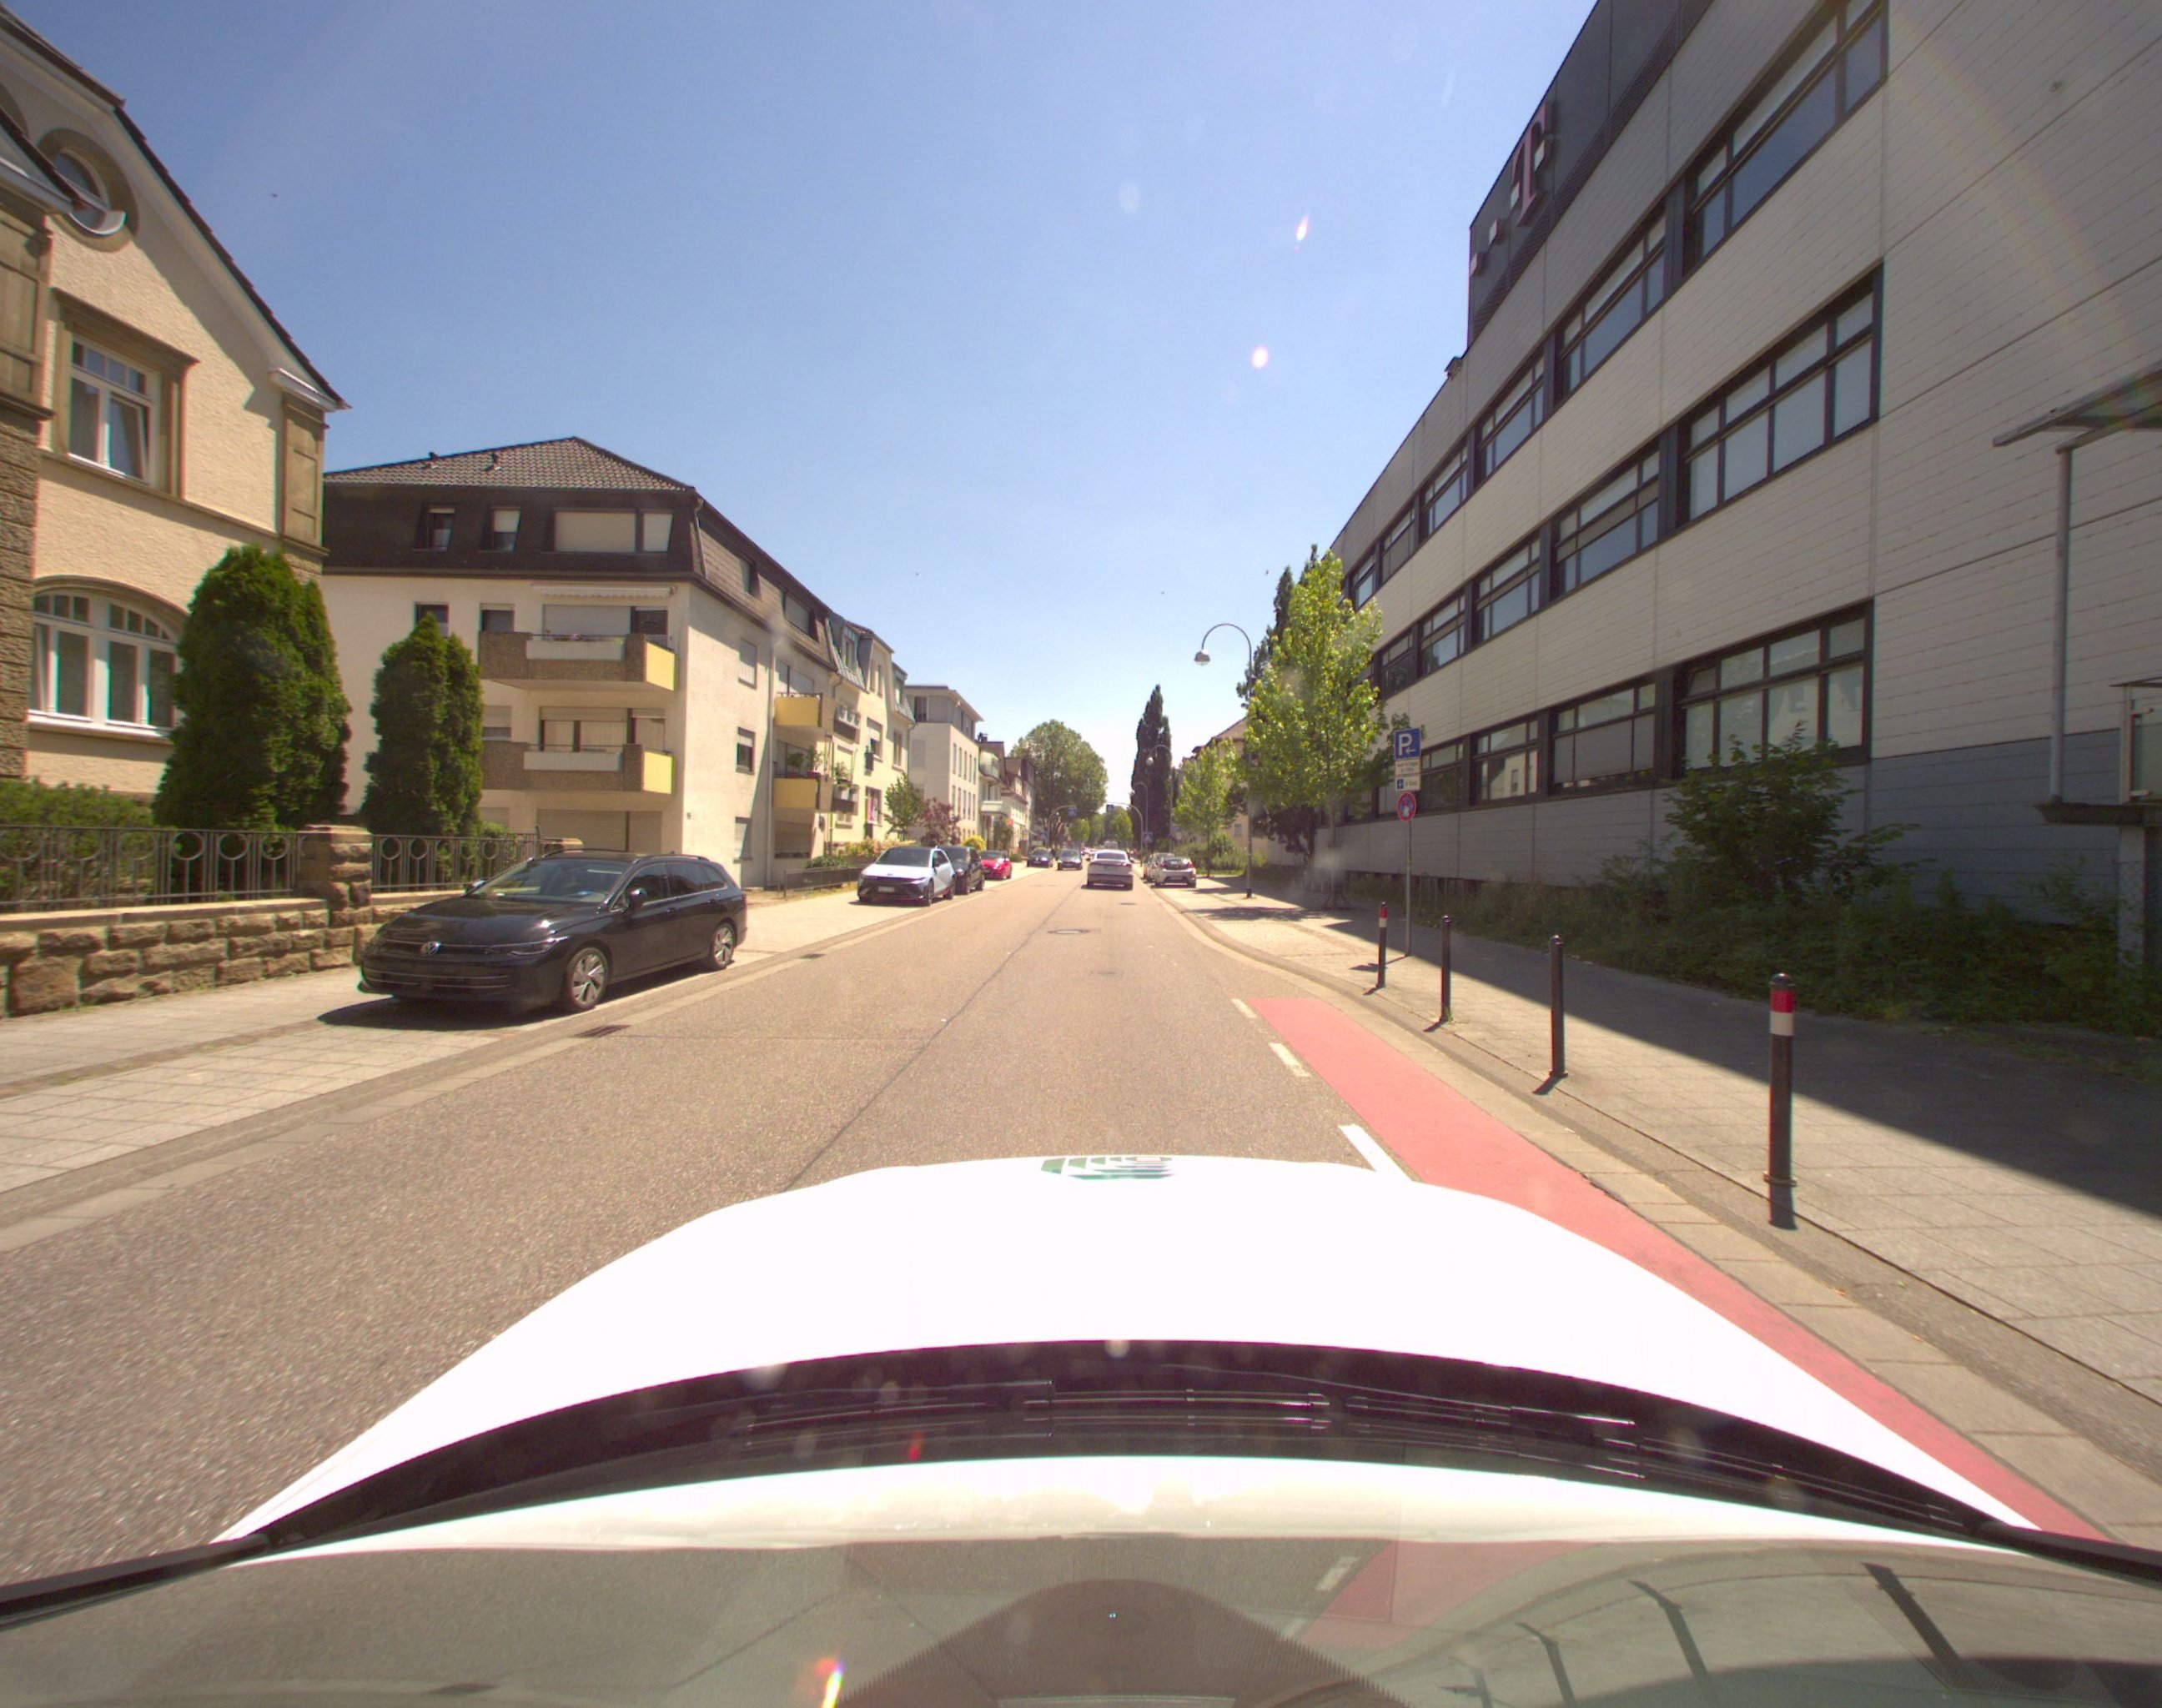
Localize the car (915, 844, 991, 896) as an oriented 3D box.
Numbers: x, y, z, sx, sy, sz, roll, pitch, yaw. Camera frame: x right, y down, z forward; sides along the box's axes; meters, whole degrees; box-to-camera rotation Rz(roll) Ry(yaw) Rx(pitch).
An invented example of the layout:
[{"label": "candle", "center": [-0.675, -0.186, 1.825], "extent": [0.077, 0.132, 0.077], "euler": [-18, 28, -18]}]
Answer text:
[{"label": "car", "center": [-4.531, 0.540, 29.490], "extent": [1.718, 1.619, 4.574], "euler": [4, 0, 3]}]

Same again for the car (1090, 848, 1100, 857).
[{"label": "car", "center": [2.634, -0.247, 153.190], "extent": [1.971, 1.520, 4.001], "euler": [1, 0, 1]}]

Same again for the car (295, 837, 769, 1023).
[{"label": "car", "center": [-5.514, 0.642, 9.173], "extent": [1.918, 1.436, 4.662], "euler": [4, 0, 3]}]

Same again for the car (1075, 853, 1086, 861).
[{"label": "car", "center": [-0.052, 0.663, 160.317], "extent": [1.986, 1.520, 4.001], "euler": [1, 0, 1]}]

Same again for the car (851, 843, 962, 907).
[{"label": "car", "center": [-4.920, 0.553, 23.730], "extent": [1.918, 1.573, 4.662], "euler": [4, 0, 3]}]

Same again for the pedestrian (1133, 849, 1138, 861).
[{"label": "pedestrian", "center": [8.174, 0.113, 122.050], "extent": [0.692, 1.736, 0.667], "euler": [1, -1, -3]}]

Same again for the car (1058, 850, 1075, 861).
[{"label": "car", "center": [-1.776, 0.186, 102.056], "extent": [1.986, 1.349, 4.001], "euler": [1, 0, 1]}]

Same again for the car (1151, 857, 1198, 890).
[{"label": "car", "center": [4.230, 0.844, 37.397], "extent": [1.854, 1.373, 4.003], "euler": [1, 0, 3]}]

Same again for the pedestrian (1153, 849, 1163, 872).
[{"label": "pedestrian", "center": [5.848, 0.513, 62.131], "extent": [0.636, 1.758, 0.616], "euler": [1, 0, -3]}]

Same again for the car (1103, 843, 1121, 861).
[{"label": "car", "center": [3.945, -0.211, 104.326], "extent": [2.063, 2.197, 5.138], "euler": [0, 0, 1]}]

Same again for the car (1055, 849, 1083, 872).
[{"label": "car", "center": [-0.896, 0.519, 62.593], "extent": [1.967, 1.670, 4.472], "euler": [1, 0, 1]}]

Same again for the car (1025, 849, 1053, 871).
[{"label": "car", "center": [-3.459, 0.490, 68.079], "extent": [1.918, 1.720, 4.474], "euler": [1, 0, 3]}]

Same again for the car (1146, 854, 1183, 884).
[{"label": "car", "center": [4.390, 0.775, 43.333], "extent": [1.652, 1.488, 4.347], "euler": [0, 0, 1]}]

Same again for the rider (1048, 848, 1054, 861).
[{"label": "rider", "center": [-3.883, 0.052, 104.343], "extent": [0.659, 1.553, 0.661], "euler": [1, 0, 2]}]

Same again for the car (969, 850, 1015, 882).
[{"label": "car", "center": [-4.398, 0.593, 40.798], "extent": [1.643, 1.419, 3.908], "euler": [4, 0, 2]}]

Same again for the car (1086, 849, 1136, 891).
[{"label": "car", "center": [1.323, 0.653, 35.130], "extent": [1.928, 1.614, 4.474], "euler": [3, 0, 3]}]

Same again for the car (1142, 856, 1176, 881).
[{"label": "car", "center": [4.560, 0.816, 48.085], "extent": [1.719, 1.383, 4.403], "euler": [0, 0, 1]}]

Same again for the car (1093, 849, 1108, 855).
[{"label": "car", "center": [5.519, -0.614, 226.250], "extent": [3.963, 1.651, 2.005], "euler": [1, 0, 9]}]
